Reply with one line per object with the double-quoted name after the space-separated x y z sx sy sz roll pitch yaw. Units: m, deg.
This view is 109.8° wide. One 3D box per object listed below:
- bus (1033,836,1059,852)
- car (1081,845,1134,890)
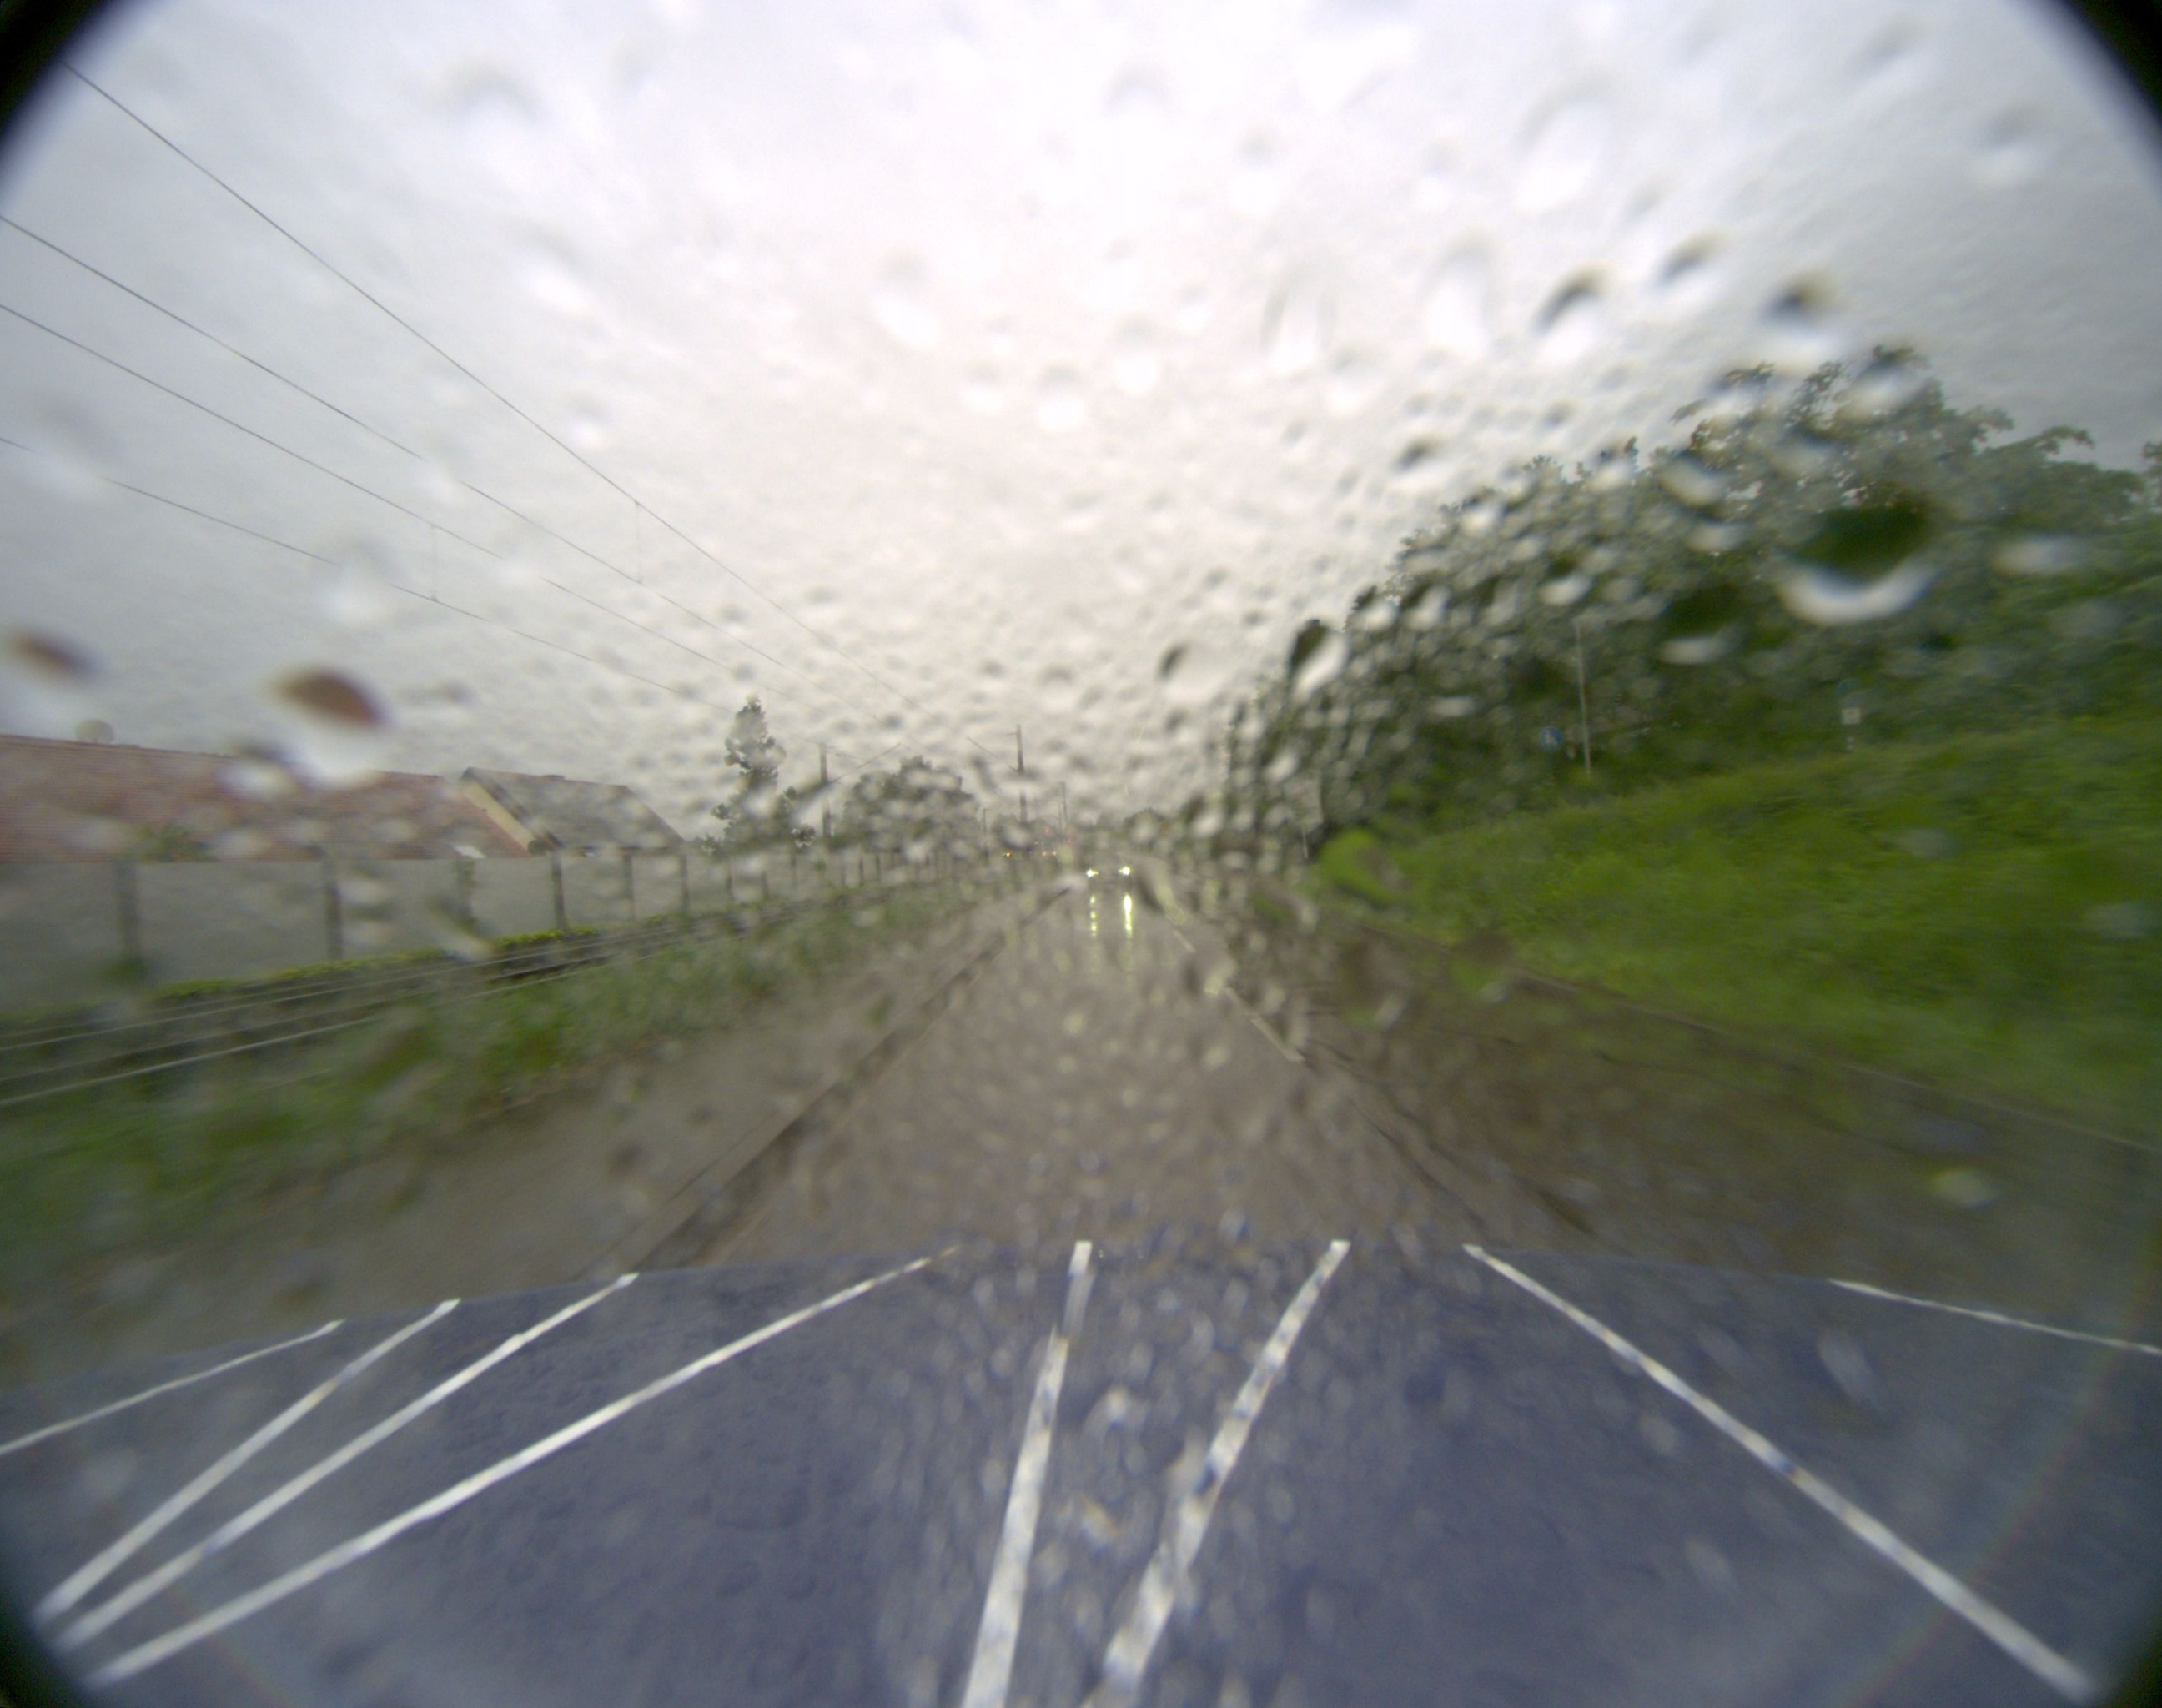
-7.371 -2.030 158.797 2.680 3.060 9.978 -5 2 -18 "bus"
1.174 0.522 32.423 1.998 1.623 4.000 -4 1 3 "car"
